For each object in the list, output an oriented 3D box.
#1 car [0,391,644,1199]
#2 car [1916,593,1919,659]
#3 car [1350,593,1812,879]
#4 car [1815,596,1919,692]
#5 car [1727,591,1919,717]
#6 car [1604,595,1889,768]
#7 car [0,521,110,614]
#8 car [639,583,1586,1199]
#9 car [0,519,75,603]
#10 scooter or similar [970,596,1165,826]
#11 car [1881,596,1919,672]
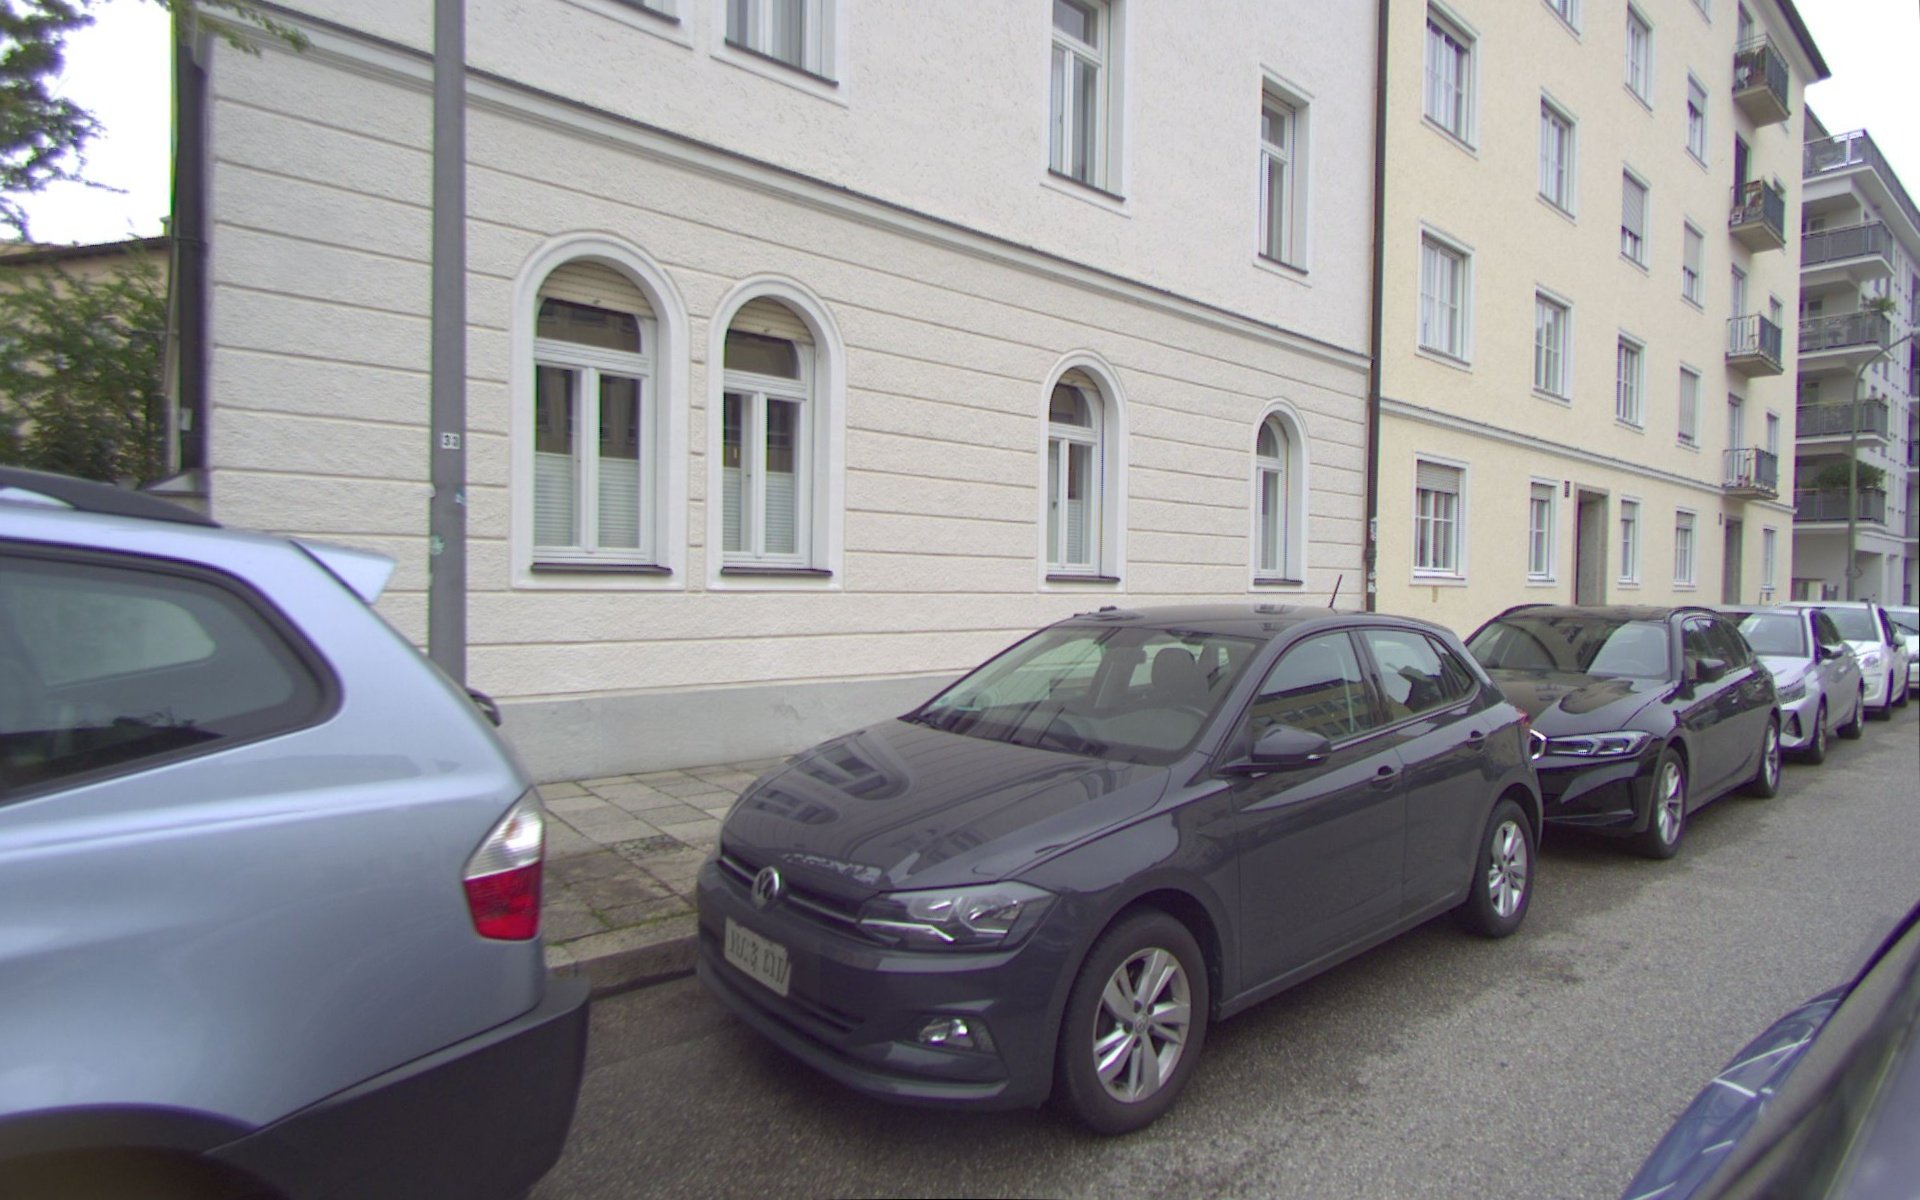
[{"bbox_3d":[-2.749,0.566,0.936,4.380,1.654,1.725,0,1,-41],"label":"car"},{"bbox_3d":[24.054,0.618,23.971,3.757,1.516,1.682,0,1,-41],"label":"car"},{"bbox_3d":[4.663,0.687,7.298,4.316,1.445,1.682,0,1,-42],"label":"car"},{"bbox_3d":[15.955,0.668,17.087,4.366,1.427,1.682,0,1,-41],"label":"car"},{"bbox_3d":[12.335,0.637,14.262,4.095,1.500,1.682,0,1,-42],"label":"car"},{"bbox_3d":[8.402,0.687,10.678,4.095,1.445,1.682,0,1,-42],"label":"car"},{"bbox_3d":[-16.735,-0.554,16.527,1.754,1.533,4.230,2,2,11],"label":"car"},{"bbox_3d":[0.947,0.676,4.190,4.016,1.445,1.682,0,1,-41],"label":"car"},{"bbox_3d":[-18.947,-0.732,18.259,1.904,1.567,4.230,2,2,11],"label":"car"},{"bbox_3d":[0.642,0.573,5.837,1.153,1.179,0.485,-1,1,-43],"label":"scooter or similar"},{"bbox_3d":[20.071,0.660,20.456,4.345,1.427,1.682,0,1,-41],"label":"car"}]
